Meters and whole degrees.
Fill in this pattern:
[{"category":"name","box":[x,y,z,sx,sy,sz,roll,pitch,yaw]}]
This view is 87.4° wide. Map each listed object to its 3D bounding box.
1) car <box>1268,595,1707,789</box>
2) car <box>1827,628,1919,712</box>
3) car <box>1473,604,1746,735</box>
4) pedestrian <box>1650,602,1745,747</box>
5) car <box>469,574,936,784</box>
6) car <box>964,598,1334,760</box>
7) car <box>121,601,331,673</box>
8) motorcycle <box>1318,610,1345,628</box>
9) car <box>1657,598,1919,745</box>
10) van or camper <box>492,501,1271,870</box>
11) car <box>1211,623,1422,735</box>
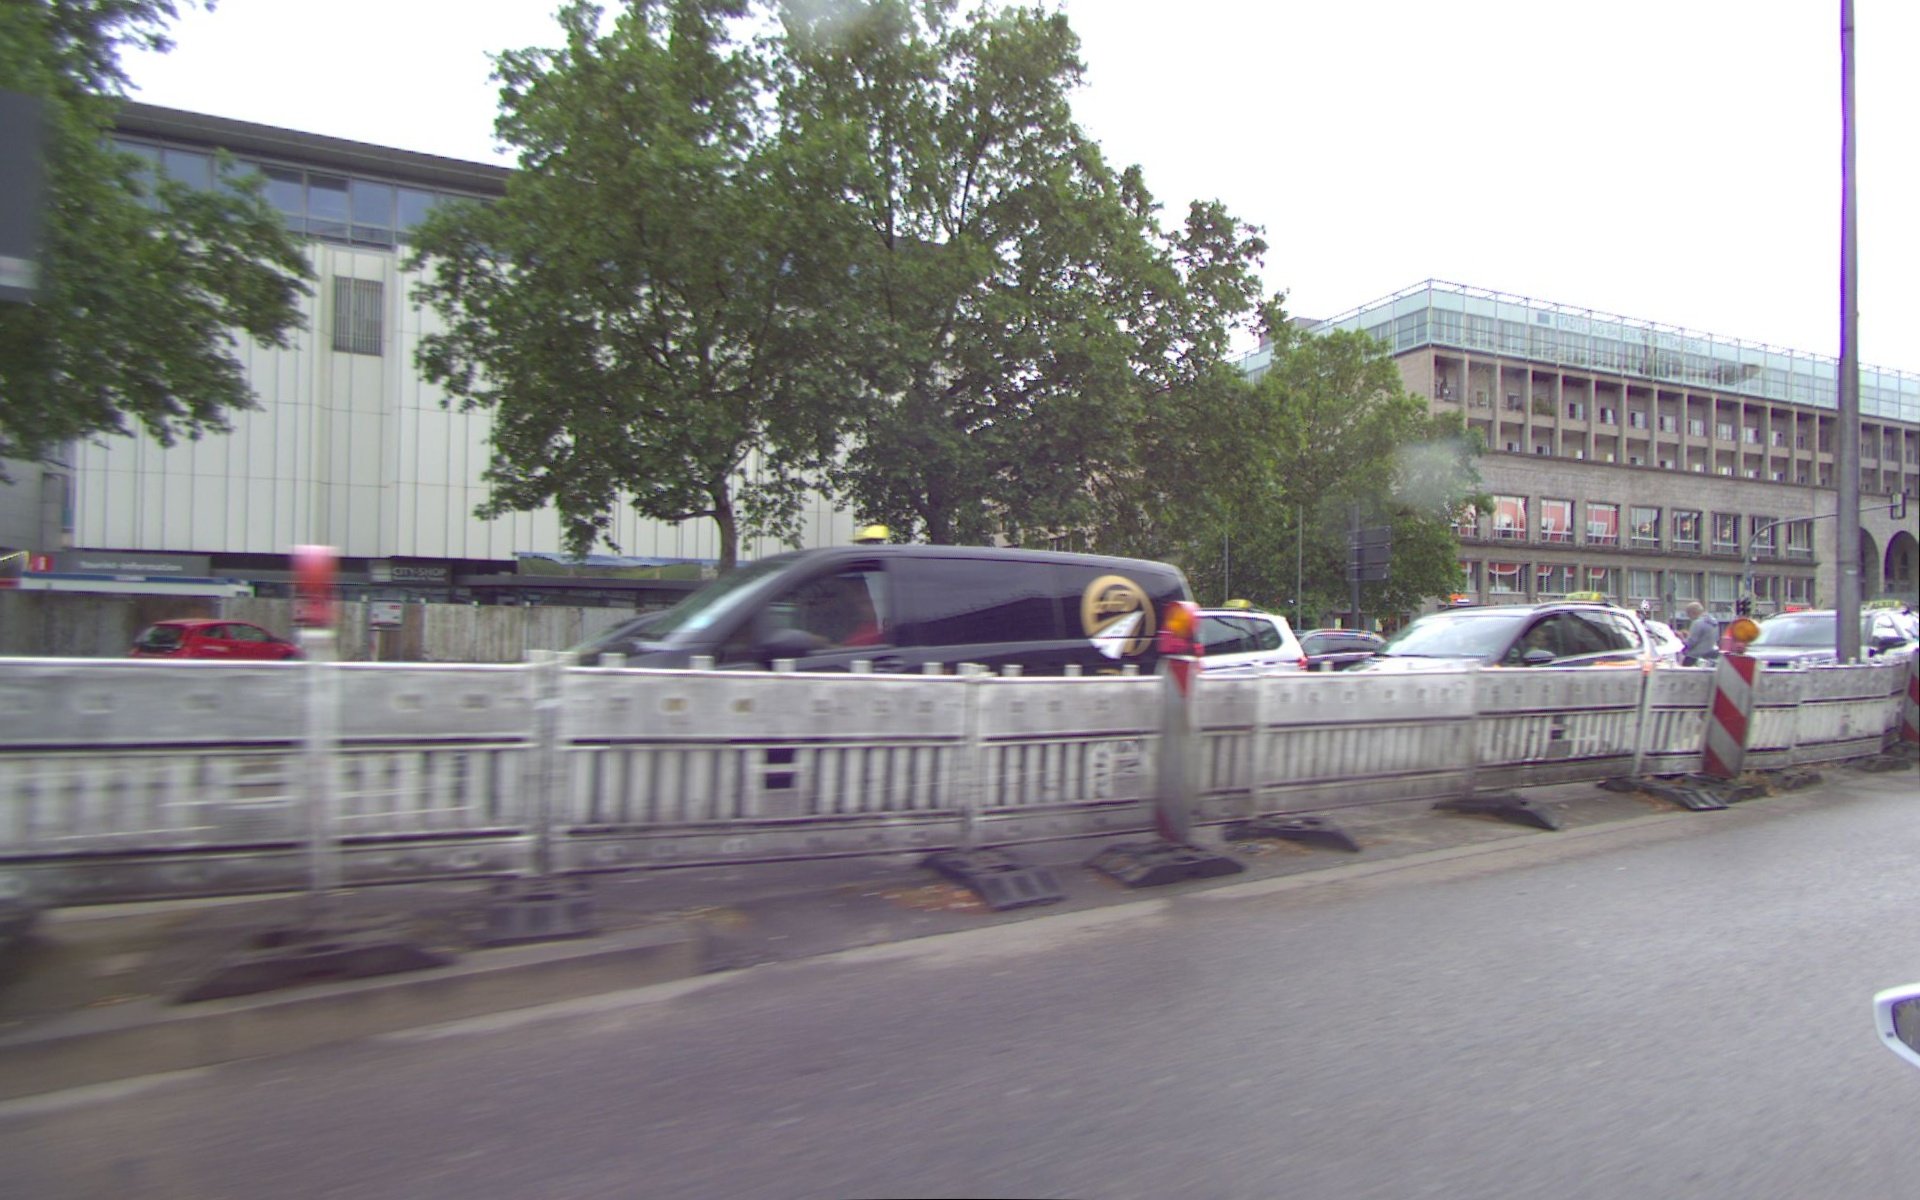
[{"category":"car","box":[5.967,0.896,11.290,4.748,1.794,1.987,0,-1,-27]},{"category":"car","box":[21.779,1.507,22.674,4.424,1.745,1.778,0,-1,-27]},{"category":"car","box":[11.301,1.120,17.449,4.508,1.876,1.906,1,4,-28]},{"category":"pedestrian","box":[10.743,1.054,14.642,0.812,2.040,0.871,1,-1,-30]},{"category":"car","box":[-2.549,0.688,10.077,4.245,1.725,1.884,1,-1,-27]},{"category":"car","box":[2.411,0.868,12.630,4.366,1.725,1.883,1,0,-28]},{"category":"car","box":[-17.401,0.858,24.042,1.815,1.563,3.747,1,-1,13]},{"category":"motorcycle","box":[22.465,1.131,60.769,1.695,1.060,0.528,2,-1,-27]},{"category":"car","box":[12.508,0.936,14.507,4.748,1.841,1.987,0,-1,-27]},{"category":"van or camper","box":[-0.349,0.528,7.273,5.331,1.843,1.936,1,-3,-32]},{"category":"car","box":[7.334,1.526,20.641,3.952,2.040,1.984,1,0,-30]}]
